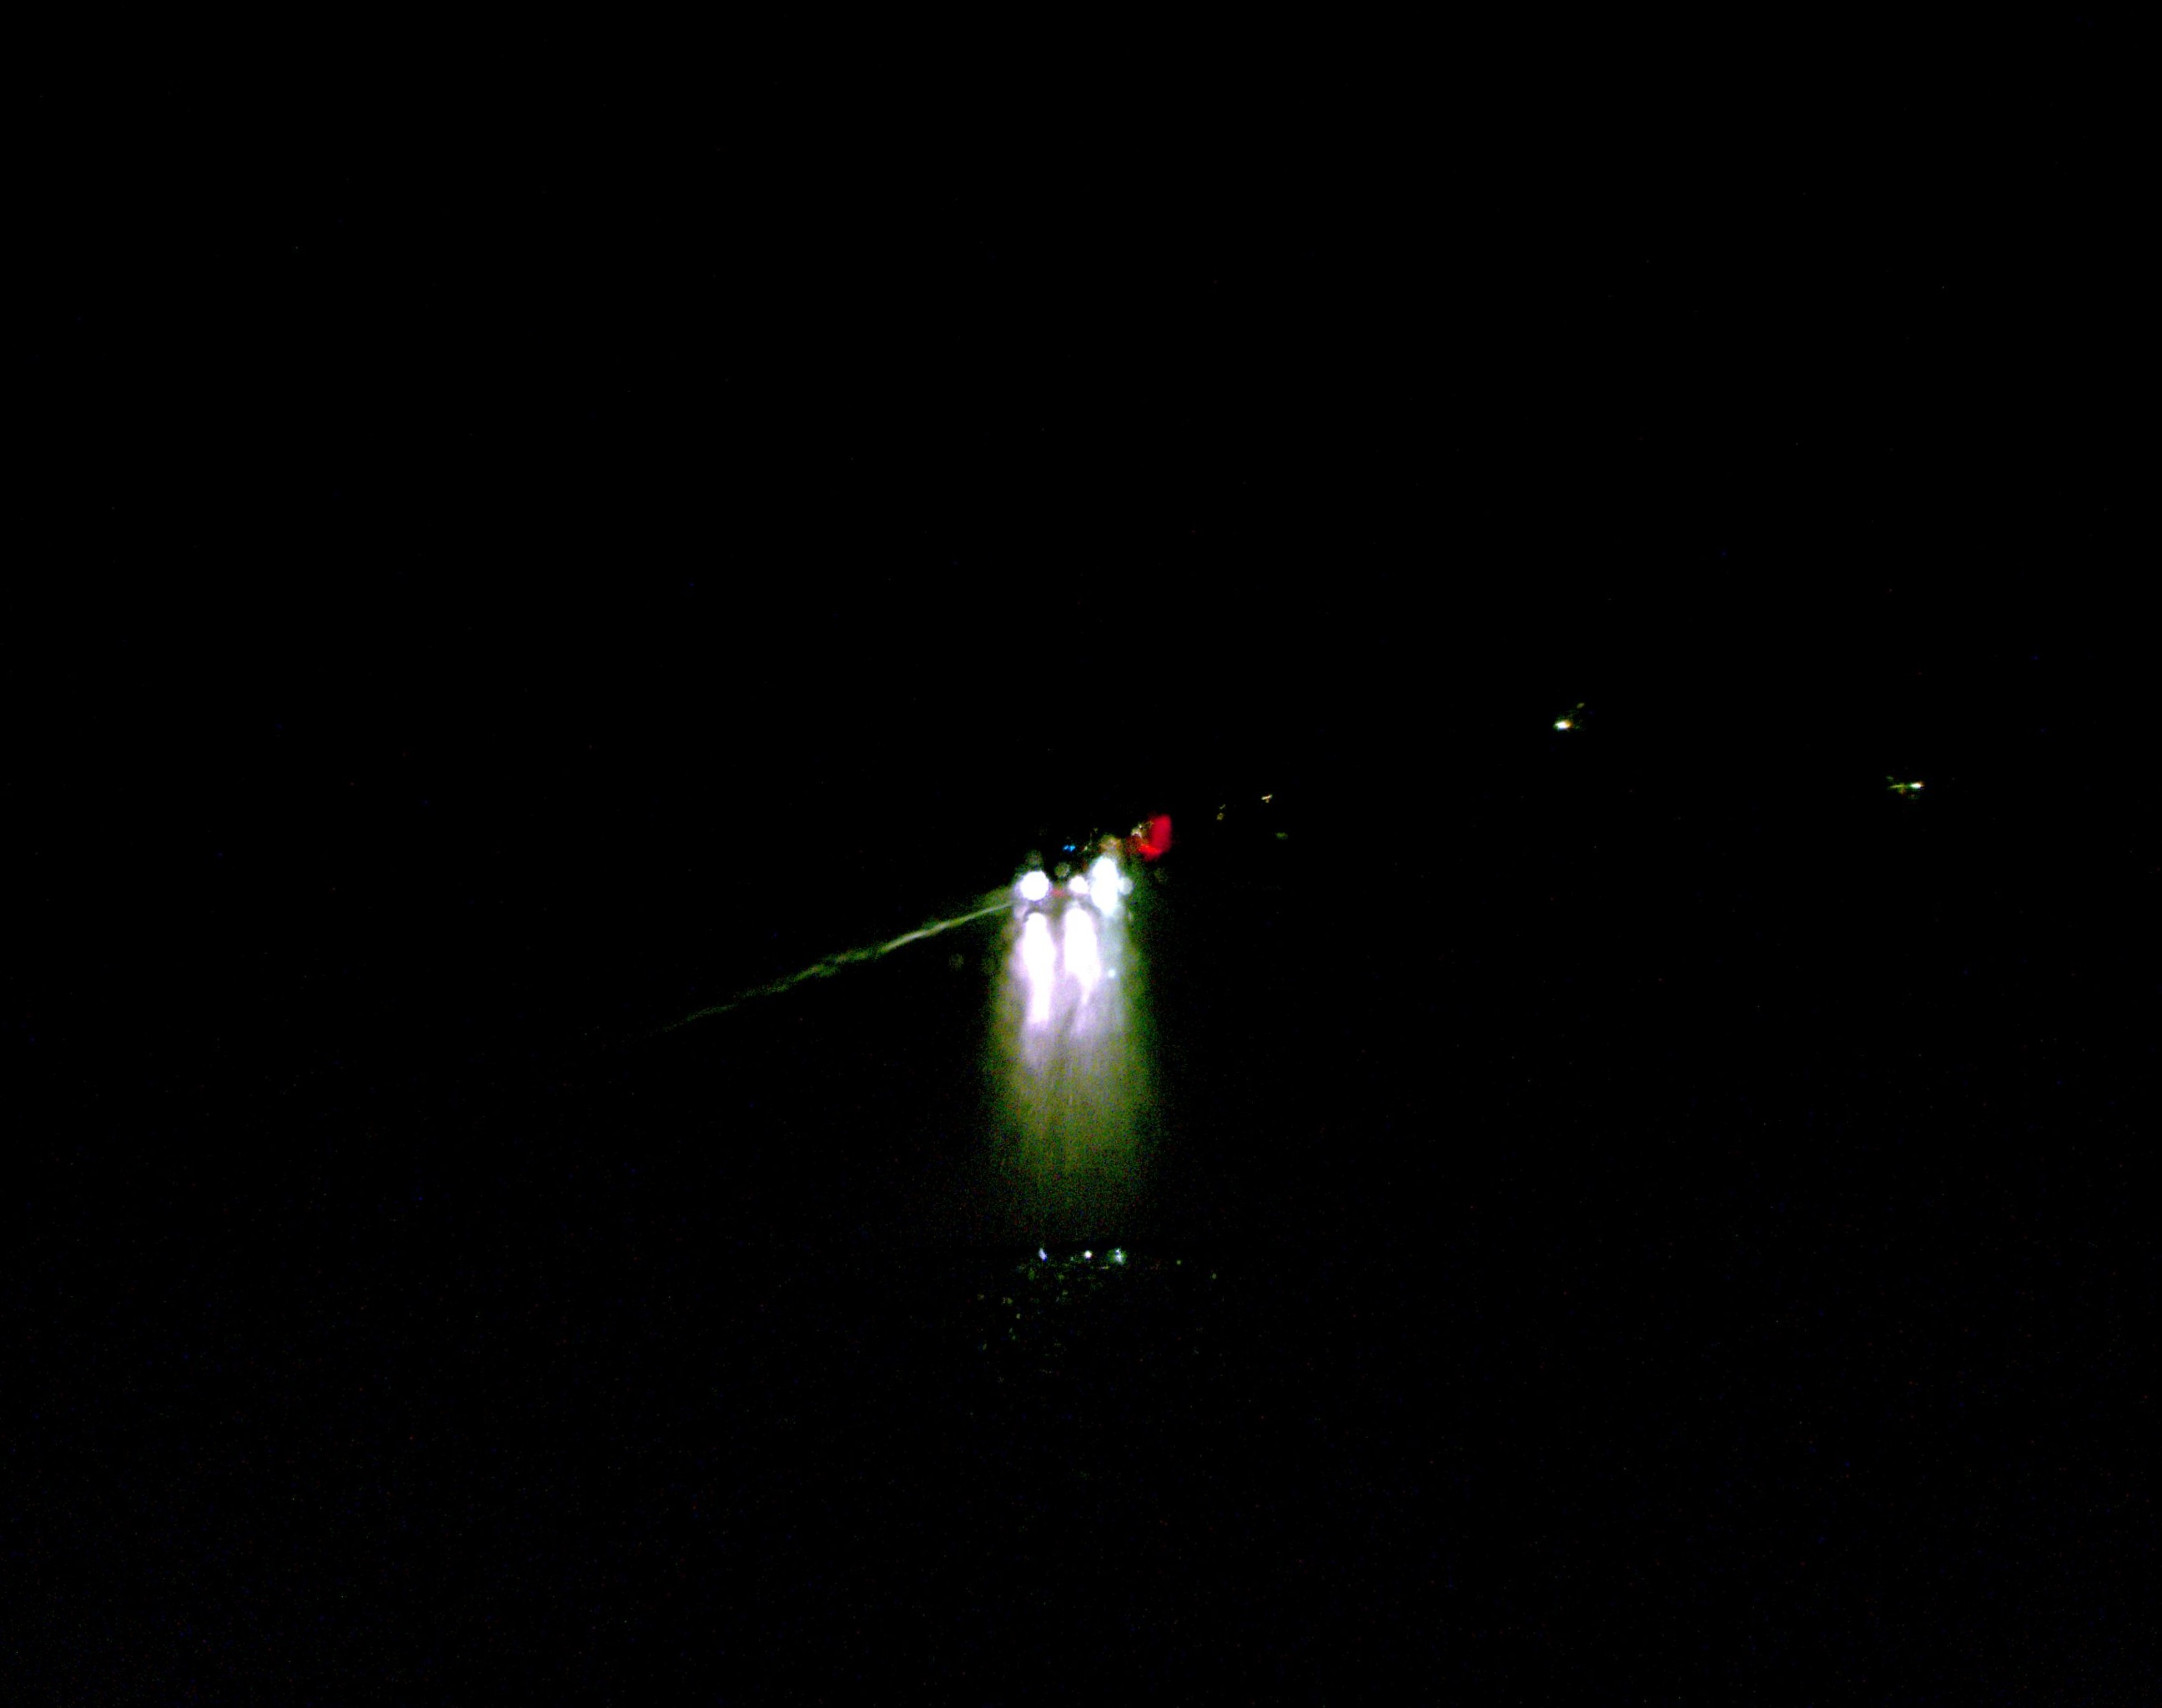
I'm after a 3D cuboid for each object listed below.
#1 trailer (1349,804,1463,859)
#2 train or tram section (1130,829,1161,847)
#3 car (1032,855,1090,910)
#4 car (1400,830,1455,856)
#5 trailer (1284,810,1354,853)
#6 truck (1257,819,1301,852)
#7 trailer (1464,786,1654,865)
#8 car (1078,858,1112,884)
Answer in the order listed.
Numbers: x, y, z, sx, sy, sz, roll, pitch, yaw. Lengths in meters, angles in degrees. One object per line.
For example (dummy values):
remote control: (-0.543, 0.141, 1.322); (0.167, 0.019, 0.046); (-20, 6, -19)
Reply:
trailer: (32.335, -2.165, 76.892); (3.981, 4.584, 15.509); (-6, 1, -2)
train or tram section: (15.060, -3.753, 182.111); (2.703, 3.793, 37.131); (-6, 1, -2)
car: (-0.783, 0.933, 26.454); (1.791, 1.684, 4.217); (-2, 0, -4)
car: (25.195, -0.801, 55.395); (1.791, 1.684, 4.217); (-4, 0, -3)
trailer: (31.896, -2.915, 102.979); (3.981, 4.984, 14.829); (-6, 1, -2)
truck: (31.153, -2.919, 120.089); (3.448, 4.584, 10.209); (-6, 1, -2)
trailer: (33.709, -1.927, 54.918); (3.981, 4.584, 14.242); (-6, 1, -2)
car: (0.913, 1.144, 53.370); (1.789, 1.638, 4.434); (-3, 0, -6)
